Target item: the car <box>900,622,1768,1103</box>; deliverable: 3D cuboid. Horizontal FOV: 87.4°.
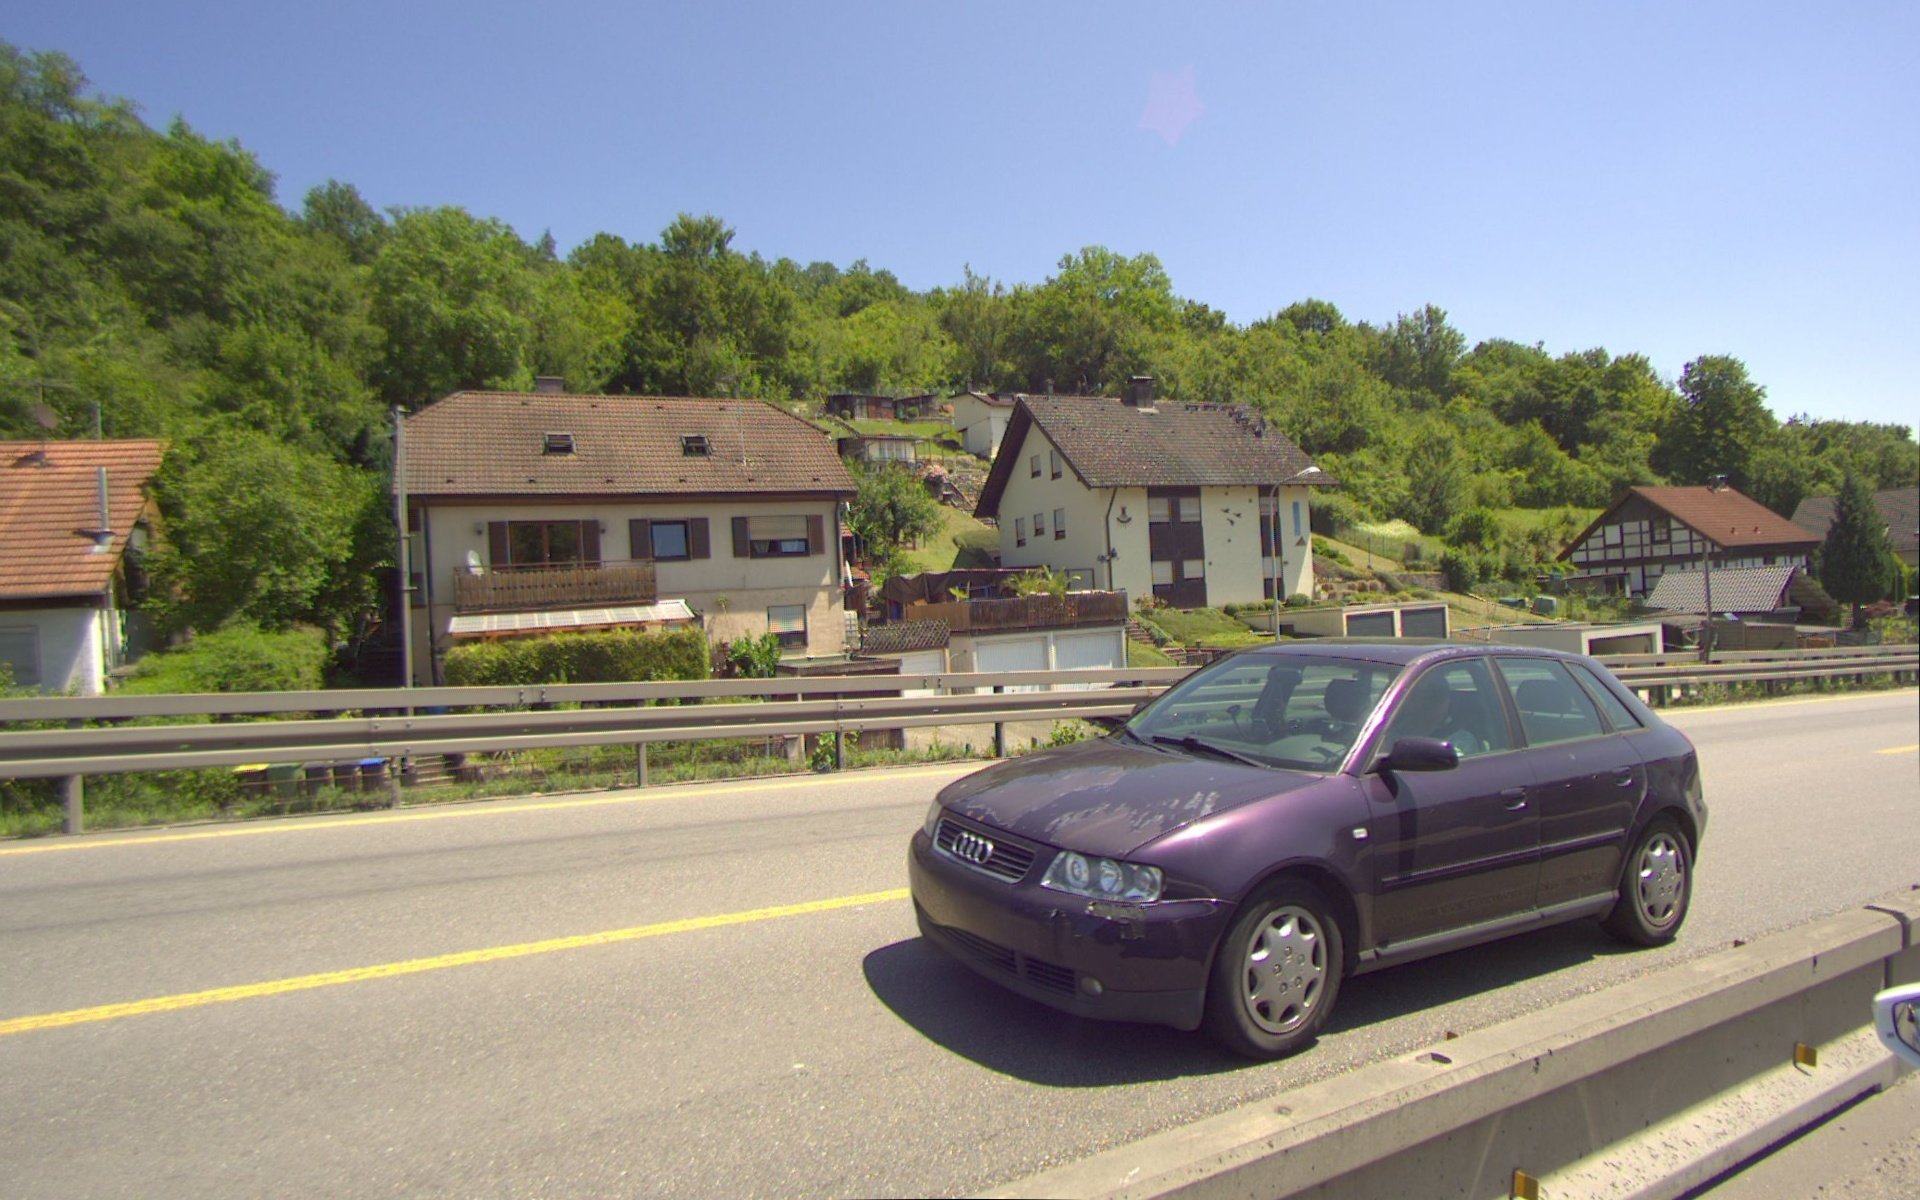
[{"bbox_3d":[1.854,0.817,4.727,3.952,1.427,1.711,1,-1,-30],"label":"car"}]
